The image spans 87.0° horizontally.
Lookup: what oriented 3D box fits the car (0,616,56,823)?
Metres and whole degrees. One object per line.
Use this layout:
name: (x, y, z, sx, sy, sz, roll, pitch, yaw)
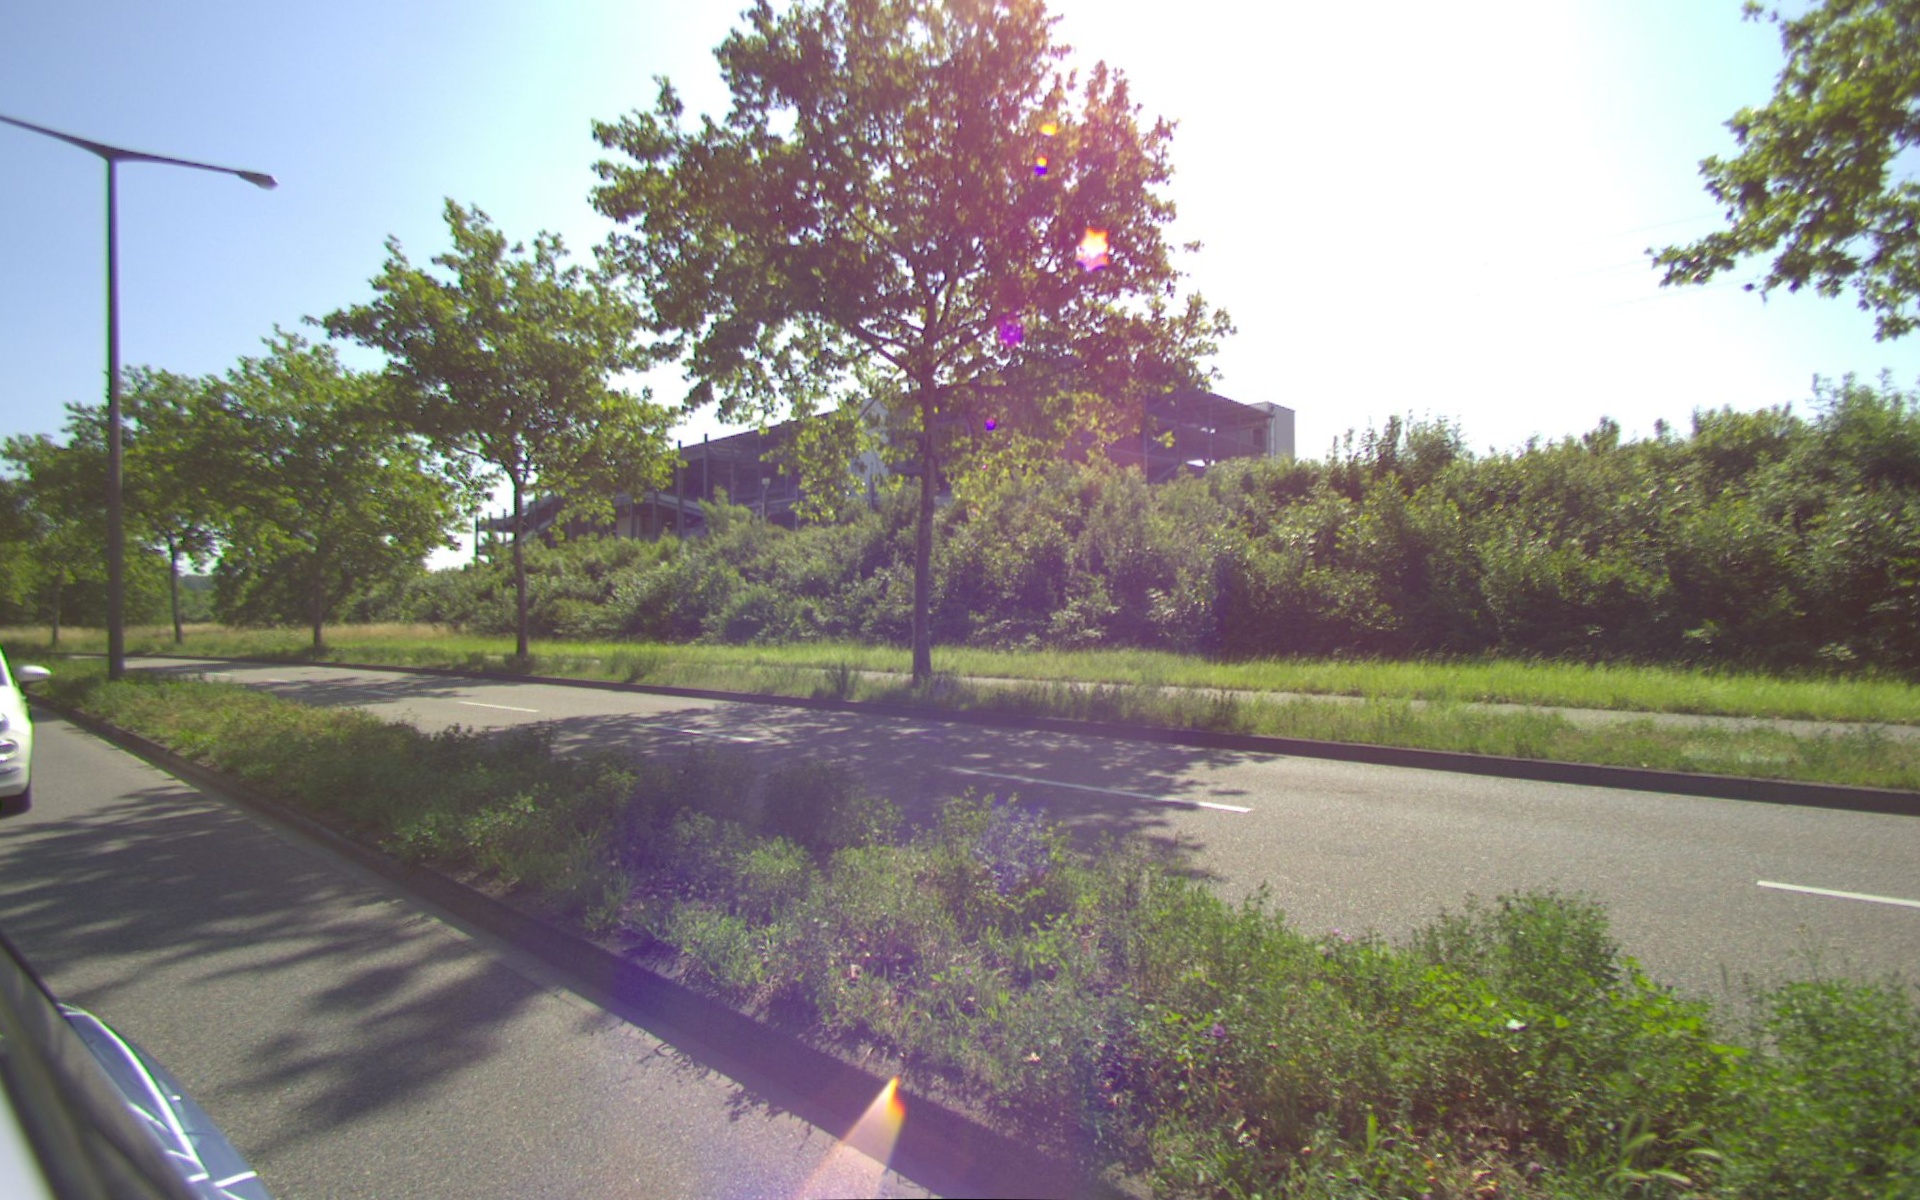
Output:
car: (-8.431, 0.873, 7.950, 3.519, 1.447, 1.643, -1, 0, 43)
